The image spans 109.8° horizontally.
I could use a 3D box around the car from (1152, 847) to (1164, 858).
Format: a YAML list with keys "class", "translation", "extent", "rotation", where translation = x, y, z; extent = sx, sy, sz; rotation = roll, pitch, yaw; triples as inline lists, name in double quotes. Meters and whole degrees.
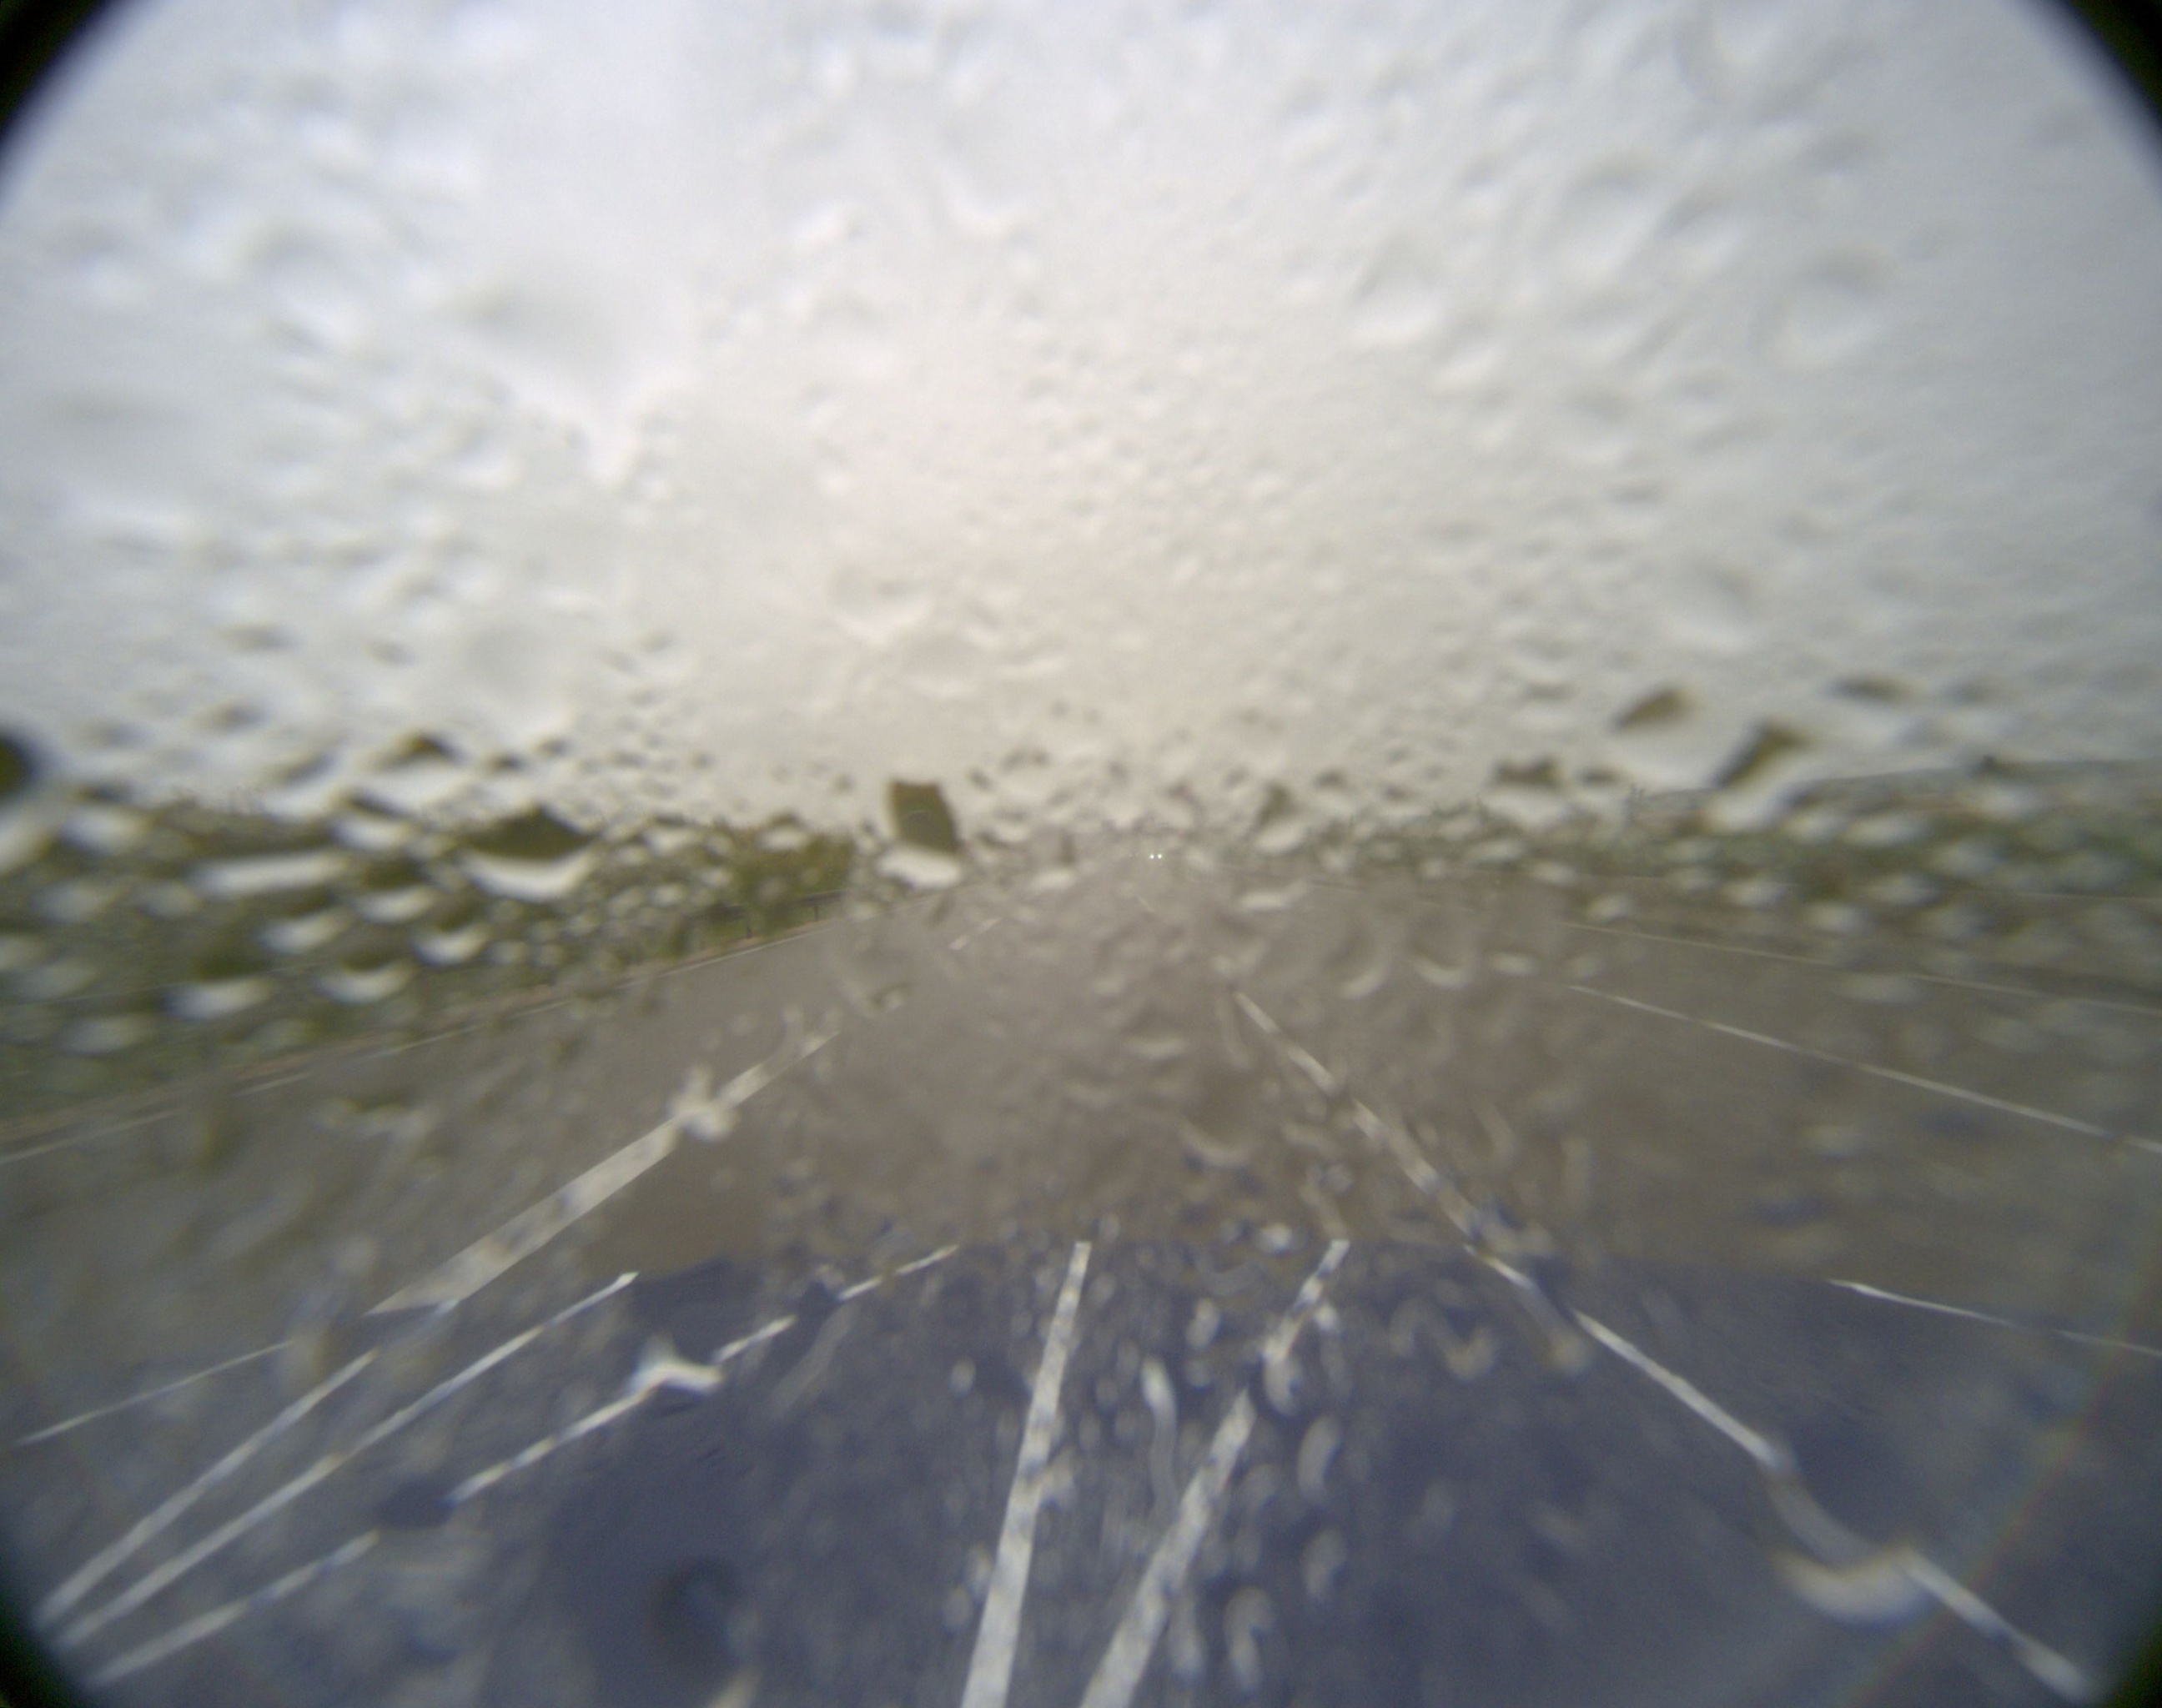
- class: "car"
  translation: [12.329, -0.222, 121.941]
  extent: [1.700, 1.543, 3.734]
  rotation: [-3, 1, 5]

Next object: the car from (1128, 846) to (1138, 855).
- class: "car"
  translation: [9.601, -0.670, 139.626]
  extent: [1.700, 1.543, 3.733]
  rotation: [-3, 1, 3]
